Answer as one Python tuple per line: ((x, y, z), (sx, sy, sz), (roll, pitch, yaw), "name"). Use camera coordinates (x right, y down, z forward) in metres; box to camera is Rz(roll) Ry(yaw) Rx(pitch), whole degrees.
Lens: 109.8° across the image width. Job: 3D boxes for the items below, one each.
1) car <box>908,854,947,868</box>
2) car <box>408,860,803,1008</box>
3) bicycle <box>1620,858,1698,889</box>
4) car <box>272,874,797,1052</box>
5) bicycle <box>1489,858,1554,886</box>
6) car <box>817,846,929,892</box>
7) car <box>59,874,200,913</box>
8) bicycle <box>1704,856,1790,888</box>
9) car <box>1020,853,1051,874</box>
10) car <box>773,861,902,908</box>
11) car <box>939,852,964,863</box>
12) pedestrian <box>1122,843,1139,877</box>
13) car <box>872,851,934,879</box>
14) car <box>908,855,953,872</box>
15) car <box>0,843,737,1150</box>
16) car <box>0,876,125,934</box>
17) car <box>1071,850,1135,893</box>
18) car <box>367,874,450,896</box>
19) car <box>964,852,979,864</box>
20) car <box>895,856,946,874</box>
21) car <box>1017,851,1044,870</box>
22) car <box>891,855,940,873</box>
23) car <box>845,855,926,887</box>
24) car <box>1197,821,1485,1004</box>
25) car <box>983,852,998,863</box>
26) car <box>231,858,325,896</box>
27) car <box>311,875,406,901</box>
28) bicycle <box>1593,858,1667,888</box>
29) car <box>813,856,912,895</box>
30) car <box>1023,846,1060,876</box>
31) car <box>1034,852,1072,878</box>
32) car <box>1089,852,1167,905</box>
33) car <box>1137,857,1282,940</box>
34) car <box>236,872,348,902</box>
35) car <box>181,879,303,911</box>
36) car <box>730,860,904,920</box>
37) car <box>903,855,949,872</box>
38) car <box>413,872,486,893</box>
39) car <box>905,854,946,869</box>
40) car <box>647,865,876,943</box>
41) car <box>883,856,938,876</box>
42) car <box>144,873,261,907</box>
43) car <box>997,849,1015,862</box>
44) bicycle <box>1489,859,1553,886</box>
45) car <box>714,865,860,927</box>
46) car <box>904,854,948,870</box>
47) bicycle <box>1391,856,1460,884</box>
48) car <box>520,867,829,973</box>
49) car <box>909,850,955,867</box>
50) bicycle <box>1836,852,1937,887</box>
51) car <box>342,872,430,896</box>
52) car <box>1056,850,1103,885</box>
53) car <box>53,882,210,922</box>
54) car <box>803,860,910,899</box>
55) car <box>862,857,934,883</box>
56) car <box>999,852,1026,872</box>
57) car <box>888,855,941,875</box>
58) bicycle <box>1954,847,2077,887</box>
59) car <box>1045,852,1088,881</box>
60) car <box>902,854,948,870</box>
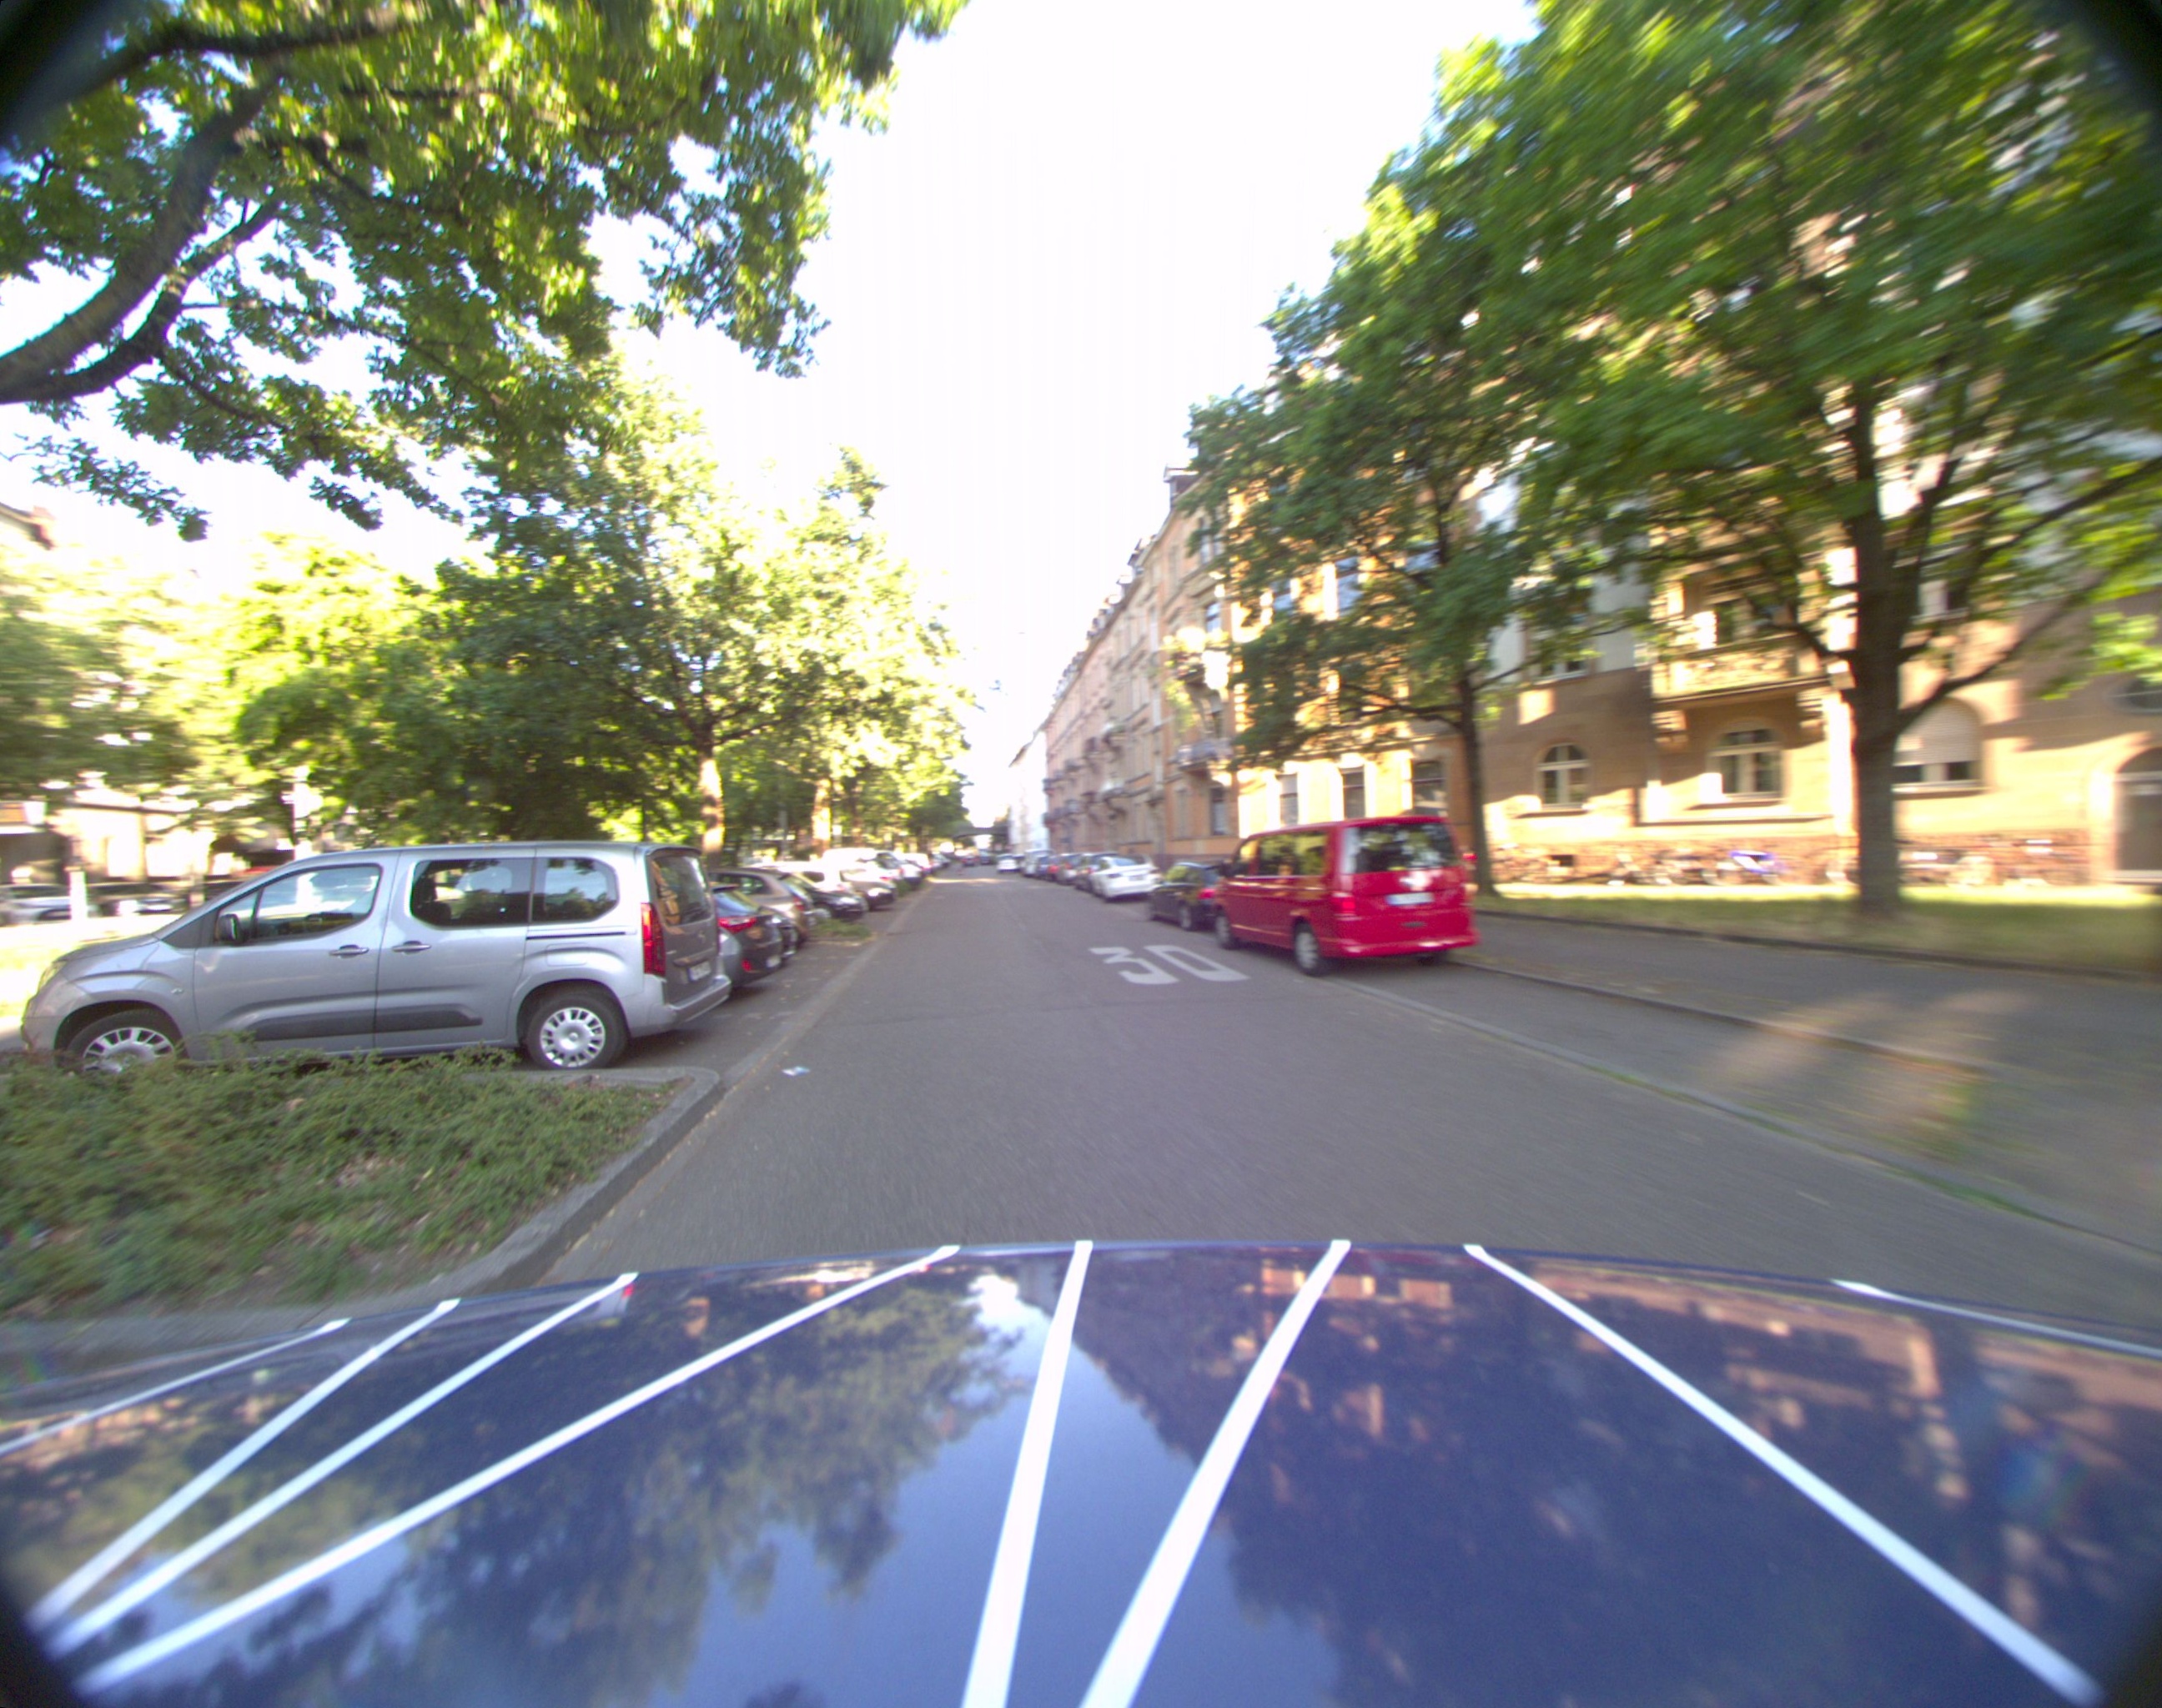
((-17.087, 0.753, 84.889), (4.133, 1.480, 1.683), (-1, 1, -8), "car")
((-6.582, 1.037, 11.145), (4.452, 1.682, 1.947), (-2, 2, -14), "car")
((14.430, 0.484, 18.986), (0.369, 0.728, 1.506), (-3, 1, -44), "bicycle")
((-5.979, 1.135, 8.909), (4.552, 1.563, 1.948), (-2, 2, -6), "car")
((12.367, 0.505, 21.343), (0.416, 0.728, 1.506), (-3, 1, -44), "bicycle")
((-9.797, 0.673, 36.205), (4.860, 2.026, 2.153), (-1, 1, -8), "car")
((-44.603, 1.810, 35.808), (2.002, 1.558, 4.604), (-1, 0, -20), "car")
((15.823, 0.430, 18.085), (0.369, 0.728, 1.506), (-3, 1, -44), "bicycle")
((-3.450, 0.700, 57.425), (1.882, 1.433, 4.389), (-4, 1, -8), "car")
((-8.342, 1.031, 26.331), (4.000, 1.452, 1.683), (-1, 1, -8), "car")
((-23.260, 0.601, 136.497), (4.392, 1.676, 1.880), (-4, 1, -9), "car")
((2.554, 0.307, 39.194), (0.675, 1.708, 0.721), (-4, 1, -8), "pedestrian")
((-12.365, 0.774, 52.908), (4.000, 1.822, 1.683), (-1, 1, -8), "car")
((-14.485, 0.884, 73.363), (4.133, 1.513, 1.683), (-1, 1, -8), "car")
((-5.545, 0.936, 6.167), (4.552, 1.904, 1.948), (-2, 2, -6), "car")
((-33.420, 1.608, 24.416), (4.273, 1.685, 1.811), (-1, 1, 16), "car")
((0.791, 0.644, 29.994), (1.689, 1.467, 3.878), (-4, 1, -10), "car")
((-41.195, 1.897, 46.564), (3.993, 1.271, 1.750), (-1, 1, 12), "car")
((-14.630, 0.521, 101.868), (1.882, 1.423, 4.389), (-4, 1, -7), "car")
((-13.232, 0.919, 62.927), (4.000, 1.331, 1.683), (-1, 1, -8), "car")
((-4.444, 0.550, 66.645), (1.882, 1.433, 4.389), (-4, 1, -8), "car")
((-14.382, 0.869, 66.288), (4.000, 1.480, 1.683), (-1, 1, -8), "car")
((-10.362, 0.895, 40.564), (4.000, 1.545, 1.683), (-1, 1, -8), "car")
((3.331, 0.644, 10.934), (1.782, 1.922, 4.768), (-4, 1, -9), "car")
((-13.239, 0.443, 111.027), (1.882, 1.433, 4.389), (-4, 1, -8), "car")
((-48.637, 1.325, 46.147), (2.002, 2.160, 4.604), (-1, 0, -20), "car")
((-39.246, 1.842, 41.291), (3.993, 1.271, 1.750), (-1, 1, 12), "car")
((14.241, 0.484, 19.743), (0.369, 0.728, 1.506), (-3, 1, -44), "bicycle")
((-9.596, 0.912, 33.588), (4.000, 1.571, 1.764), (-1, 1, -10), "car")
((-2.752, 0.454, 51.724), (1.913, 1.872, 4.721), (-4, 1, -8), "car")
((-1.749, 0.630, 46.185), (1.769, 1.430, 3.885), (-4, 1, -8), "car")
((1.442, 0.728, 24.951), (1.781, 1.467, 4.268), (-4, 1, -6), "car")
((2.629, 0.850, 16.634), (1.782, 1.425, 4.267), (-4, 1, -9), "car")
((-36.804, 1.546, 35.472), (3.993, 1.271, 1.750), (-1, 1, 12), "car")
((-36.013, 1.760, 32.652), (3.993, 1.271, 1.750), (-1, 1, 12), "car")
((-8.069, 1.069, 23.642), (4.715, 1.563, 1.998), (-2, 2, -6), "car")
((-14.434, 0.904, 70.884), (4.000, 1.480, 1.683), (-1, 1, -8), "car")
((-43.402, 1.957, 52.241), (3.993, 1.271, 1.750), (-1, 1, 12), "car")
((-16.434, 0.782, 80.288), (4.133, 1.480, 1.683), (-1, 1, -8), "car")
((-7.600, 1.161, 18.527), (4.715, 1.563, 1.998), (-2, 2, -6), "car")
((-13.057, 0.906, 58.315), (4.000, 1.480, 1.683), (-1, 1, -8), "car")
((-46.285, 1.837, 40.183), (2.002, 1.558, 4.604), (-1, 0, -20), "car")
((-9.446, 0.176, 95.630), (1.882, 1.433, 4.389), (-4, 1, -8), "car")
((12.567, 0.525, 21.729), (0.369, 0.728, 1.506), (-3, 1, -44), "bicycle")
((-8.081, 1.133, 21.160), (3.409, 1.505, 1.718), (-2, 0, -6), "car")
((-15.812, 0.784, 77.688), (4.266, 1.480, 1.683), (-1, 1, -8), "car")
((10.748, 0.515, 23.775), (0.526, 0.843, 1.894), (-2, 0, -44), "bicycle")
((-7.231, 1.125, 13.983), (4.552, 1.563, 1.948), (-2, 2, -6), "car")
((-17.574, 0.508, 89.782), (5.099, 1.831, 1.831), (-1, 1, -8), "car")
((17.549, 0.332, 16.589), (0.369, 0.728, 1.506), (-3, 1, -44), "bicycle")
((-40.451, 1.718, 44.234), (3.993, 1.271, 1.750), (-1, 1, 12), "car")
((-0.132, 0.612, 36.008), (1.689, 1.467, 3.706), (-4, 1, -8), "car")
((-33.772, 1.693, 27.055), (4.274, 1.271, 1.811), (-1, 1, 13), "car")
((-9.221, 1.028, 31.463), (4.000, 1.415, 1.683), (-1, 1, -8), "car")
((-10.940, 0.944, 45.645), (4.000, 1.480, 1.683), (-1, 1, -8), "car")
((-5.763, 0.627, 63.430), (1.882, 1.527, 4.389), (-4, 1, -8), "car")
((-13.293, 0.881, 60.860), (4.000, 1.480, 1.683), (-1, 1, -8), "car")
((18.681, 0.270, 15.233), (0.369, 0.728, 1.506), (-3, 0, -44), "bicycle")
((-0.841, 0.648, 41.210), (1.769, 1.376, 4.287), (-4, 1, -7), "car")
((-15.445, 0.795, 75.414), (4.266, 1.480, 1.683), (-1, 1, -8), "car")
